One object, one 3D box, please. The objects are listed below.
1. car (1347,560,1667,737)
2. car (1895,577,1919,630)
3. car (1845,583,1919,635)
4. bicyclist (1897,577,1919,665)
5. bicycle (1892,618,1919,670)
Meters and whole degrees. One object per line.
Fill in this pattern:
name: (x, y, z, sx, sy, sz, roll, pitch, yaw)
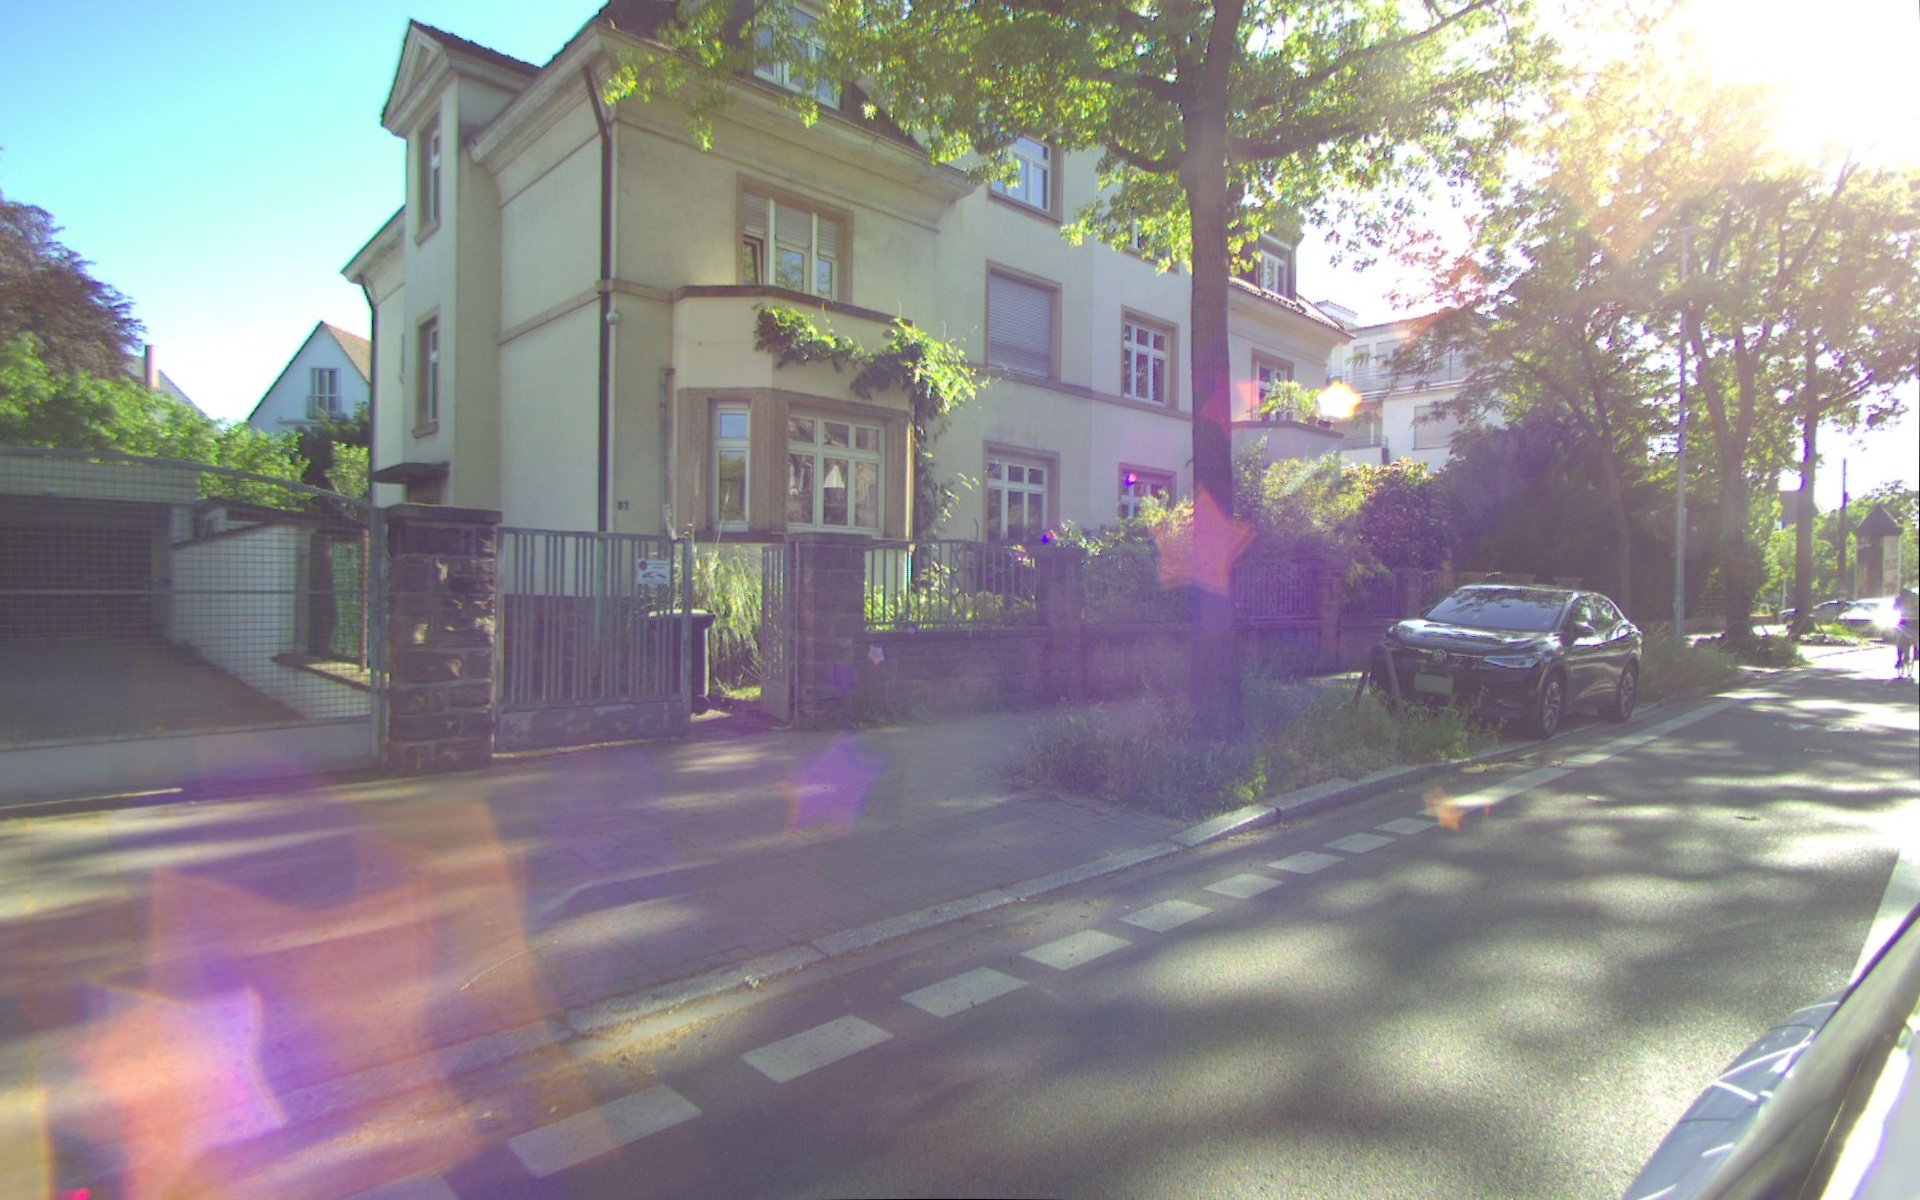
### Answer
car: (6.700, 0.485, 12.199, 4.304, 1.695, 1.997, 1, 2, -42)
car: (36.767, 0.139, 37.875, 4.663, 1.919, 2.128, 0, 1, -41)
car: (31.512, 0.261, 34.098, 3.927, 1.660, 1.824, 0, 1, -38)
bicyclist: (18.668, 0.404, 19.609, 0.732, 1.679, 0.677, 0, 0, -41)
bicycle: (18.633, 0.847, 19.579, 1.852, 0.937, 0.677, 0, 1, -41)
